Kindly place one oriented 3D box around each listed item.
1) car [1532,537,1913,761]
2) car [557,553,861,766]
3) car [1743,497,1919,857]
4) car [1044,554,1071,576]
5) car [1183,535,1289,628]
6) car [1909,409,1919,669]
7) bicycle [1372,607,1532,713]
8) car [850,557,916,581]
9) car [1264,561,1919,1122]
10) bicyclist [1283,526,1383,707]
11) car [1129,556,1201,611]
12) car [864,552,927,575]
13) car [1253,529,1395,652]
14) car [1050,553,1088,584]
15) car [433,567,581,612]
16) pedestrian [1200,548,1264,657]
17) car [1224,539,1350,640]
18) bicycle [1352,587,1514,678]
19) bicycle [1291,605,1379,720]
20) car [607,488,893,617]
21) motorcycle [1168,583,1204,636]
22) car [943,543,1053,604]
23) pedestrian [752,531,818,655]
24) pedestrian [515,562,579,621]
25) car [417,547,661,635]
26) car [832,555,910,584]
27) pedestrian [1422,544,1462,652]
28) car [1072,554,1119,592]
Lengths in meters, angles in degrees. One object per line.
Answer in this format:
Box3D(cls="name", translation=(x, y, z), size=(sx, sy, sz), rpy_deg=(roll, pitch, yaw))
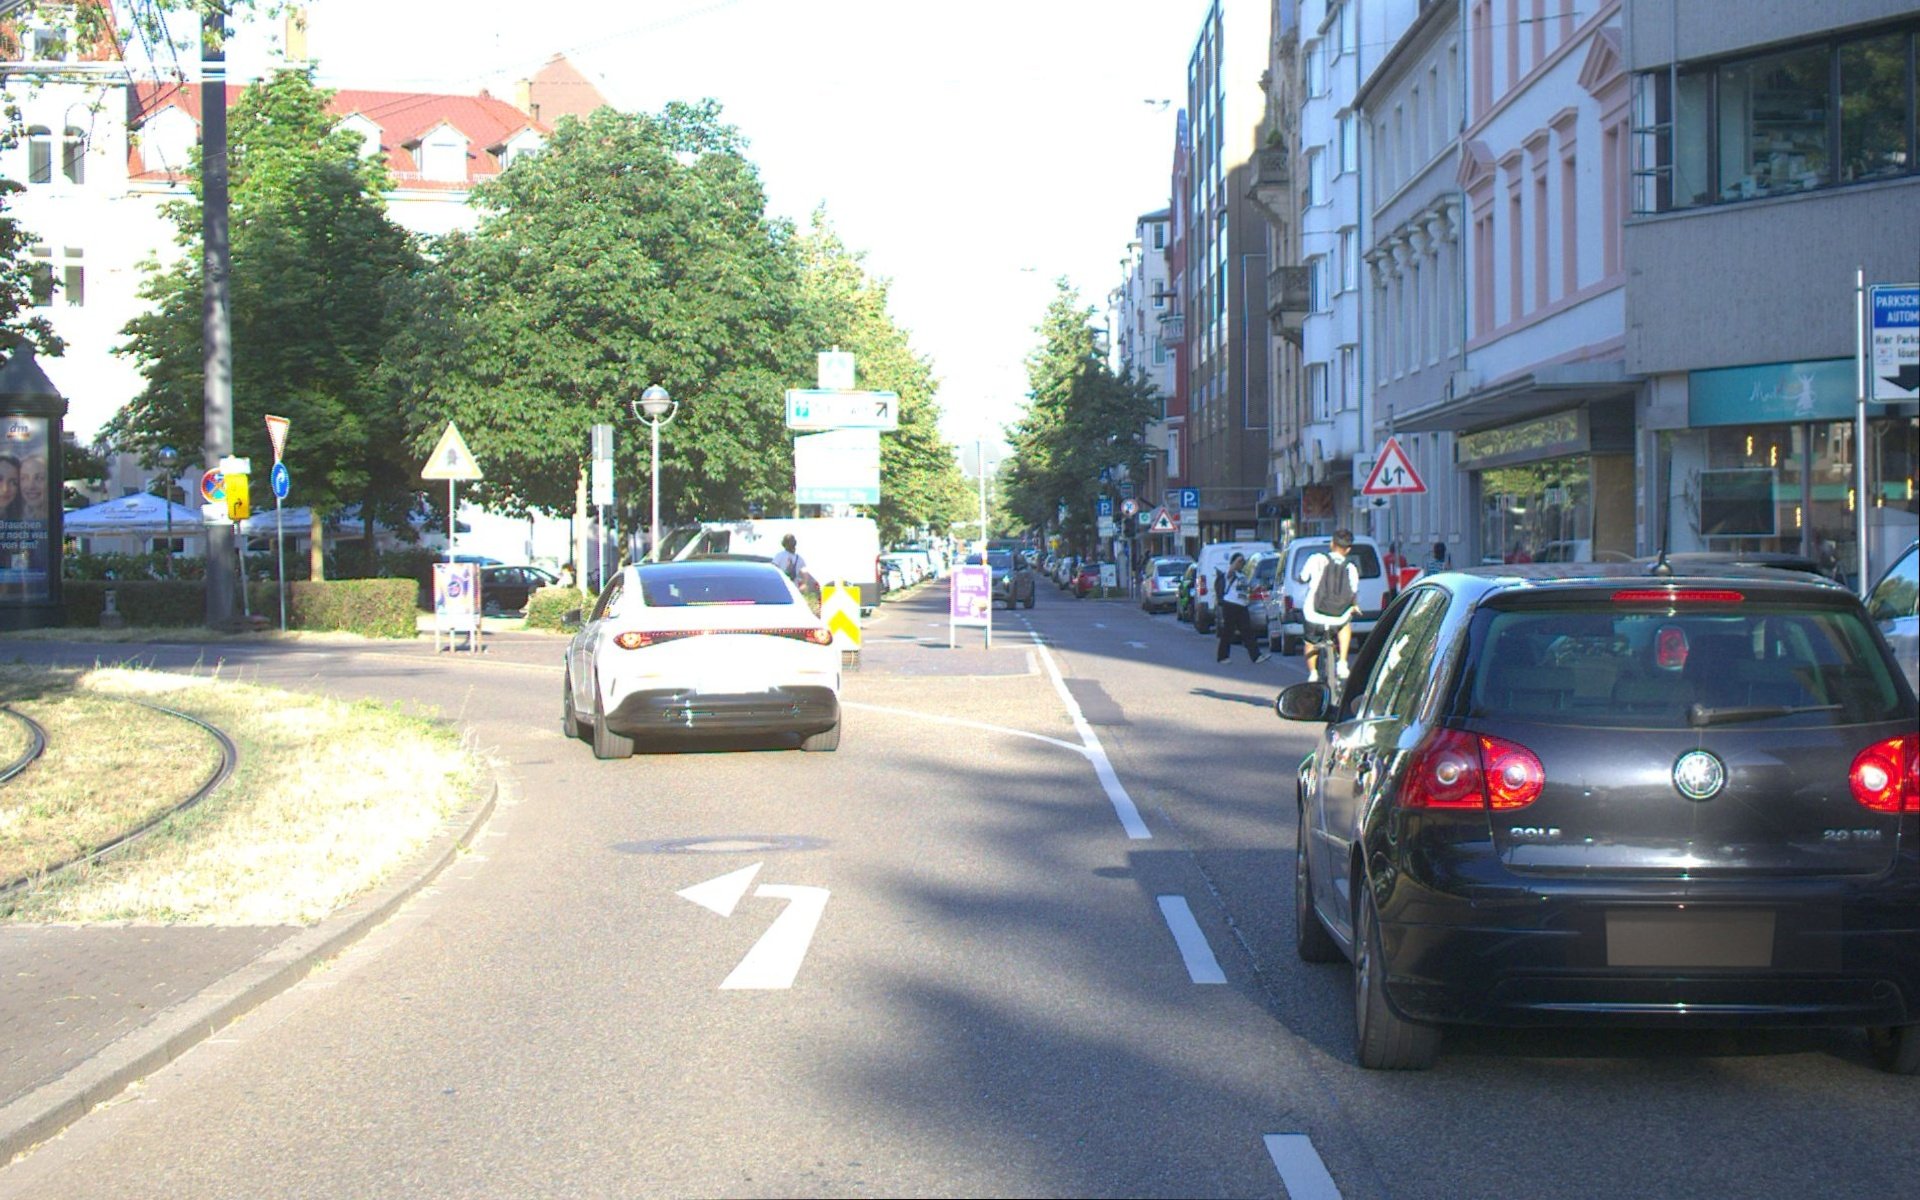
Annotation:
Box3D(cls="car", translation=(5.479, 0.301, 25.154), size=(1.662, 1.436, 3.824), rpy_deg=(-3, 1, -4))
Box3D(cls="car", translation=(-2.035, 0.394, 26.772), size=(1.864, 1.436, 4.198), rpy_deg=(-2, 1, -10))
Box3D(cls="car", translation=(5.438, 0.312, 17.115), size=(1.867, 1.708, 4.505), rpy_deg=(-3, 1, -2))
Box3D(cls="car", translation=(7.114, -2.569, 250.099), size=(1.752, 1.505, 3.545), rpy_deg=(-2, 1, -1))
Box3D(cls="car", translation=(5.687, -0.398, 71.191), size=(1.925, 1.835, 4.017), rpy_deg=(-2, 1, 1))
Box3D(cls="car", translation=(11.791, -0.667, 32.456), size=(5.315, 2.434, 2.092), rpy_deg=(-2, 1, -25))
Box3D(cls="bicycle", translation=(5.423, 0.666, 37.940), size=(1.605, 1.115, 0.611), rpy_deg=(-2, 2, 34))
Box3D(cls="car", translation=(-4.317, -1.746, 192.233), size=(3.377, 1.283, 1.673), rpy_deg=(0, 1, -15))
Box3D(cls="car", translation=(2.000, 0.613, 11.122), size=(1.747, 1.456, 4.103), rpy_deg=(0, 1, 1))
Box3D(cls="bicyclist", translation=(3.388, 0.143, 31.303), size=(0.777, 1.613, 1.025), rpy_deg=(1, 1, 0))
Box3D(cls="car", translation=(5.798, -0.480, 97.499), size=(1.752, 1.505, 3.545), rpy_deg=(-2, 1, -1))
Box3D(cls="car", translation=(-3.745, -2.143, 199.999), size=(3.377, 1.283, 1.673), rpy_deg=(0, 1, -15))
Box3D(cls="car", translation=(5.612, -0.166, 53.366), size=(1.734, 1.794, 3.917), rpy_deg=(-2, 1, 0))
Box3D(cls="car", translation=(5.590, -1.632, 177.303), size=(1.752, 1.505, 3.545), rpy_deg=(-2, 1, -1))
Box3D(cls="car", translation=(-13.312, -0.316, 101.029), size=(3.986, 1.297, 1.853), rpy_deg=(0, 1, -22))
Box3D(cls="pedestrian", translation=(3.891, 0.025, 49.184), size=(0.737, 1.549, 0.631), rpy_deg=(0, 1, 26))
Box3D(cls="car", translation=(5.542, -0.195, 58.664), size=(1.734, 1.611, 3.917), rpy_deg=(-2, 1, 0))
Box3D(cls="bicycle", translation=(5.773, 0.404, 41.991), size=(1.850, 1.042, 0.580), rpy_deg=(-2, 2, 31))
Box3D(cls="bicycle", translation=(3.396, 0.554, 31.248), size=(0.579, 0.984, 1.936), rpy_deg=(1, 1, 0))
Box3D(cls="car", translation=(-4.329, -0.967, 71.057), size=(5.510, 2.586, 2.155), rpy_deg=(0, 1, -26))
Box3D(cls="motorcycle", translation=(5.284, 0.212, 80.483), size=(0.486, 1.170, 1.607), rpy_deg=(-3, 1, -7))
Box3D(cls="car", translation=(1.172, -0.820, 104.158), size=(1.996, 1.766, 3.996), rpy_deg=(0, 1, 22))
Box3D(cls="pedestrian", translation=(-2.448, -0.102, 47.909), size=(0.859, 1.700, 0.941), rpy_deg=(1, 1, -6))
Box3D(cls="pedestrian", translation=(-8.594, -0.178, 71.581), size=(1.097, 1.222, 0.860), rpy_deg=(1, 1, -25))
Box3D(cls="car", translation=(-7.652, -0.181, 62.601), size=(3.987, 1.547, 1.879), rpy_deg=(0, 1, -32))
Box3D(cls="car", translation=(-4.176, -1.444, 161.039), size=(3.377, 1.283, 1.673), rpy_deg=(0, 1, -15))
Box3D(cls="pedestrian", translation=(7.293, -0.035, 52.022), size=(0.502, 1.619, 0.496), rpy_deg=(1, 1, 0))
Box3D(cls="car", translation=(5.699, -1.152, 144.682), size=(1.752, 1.505, 3.545), rpy_deg=(-2, 1, -1))
